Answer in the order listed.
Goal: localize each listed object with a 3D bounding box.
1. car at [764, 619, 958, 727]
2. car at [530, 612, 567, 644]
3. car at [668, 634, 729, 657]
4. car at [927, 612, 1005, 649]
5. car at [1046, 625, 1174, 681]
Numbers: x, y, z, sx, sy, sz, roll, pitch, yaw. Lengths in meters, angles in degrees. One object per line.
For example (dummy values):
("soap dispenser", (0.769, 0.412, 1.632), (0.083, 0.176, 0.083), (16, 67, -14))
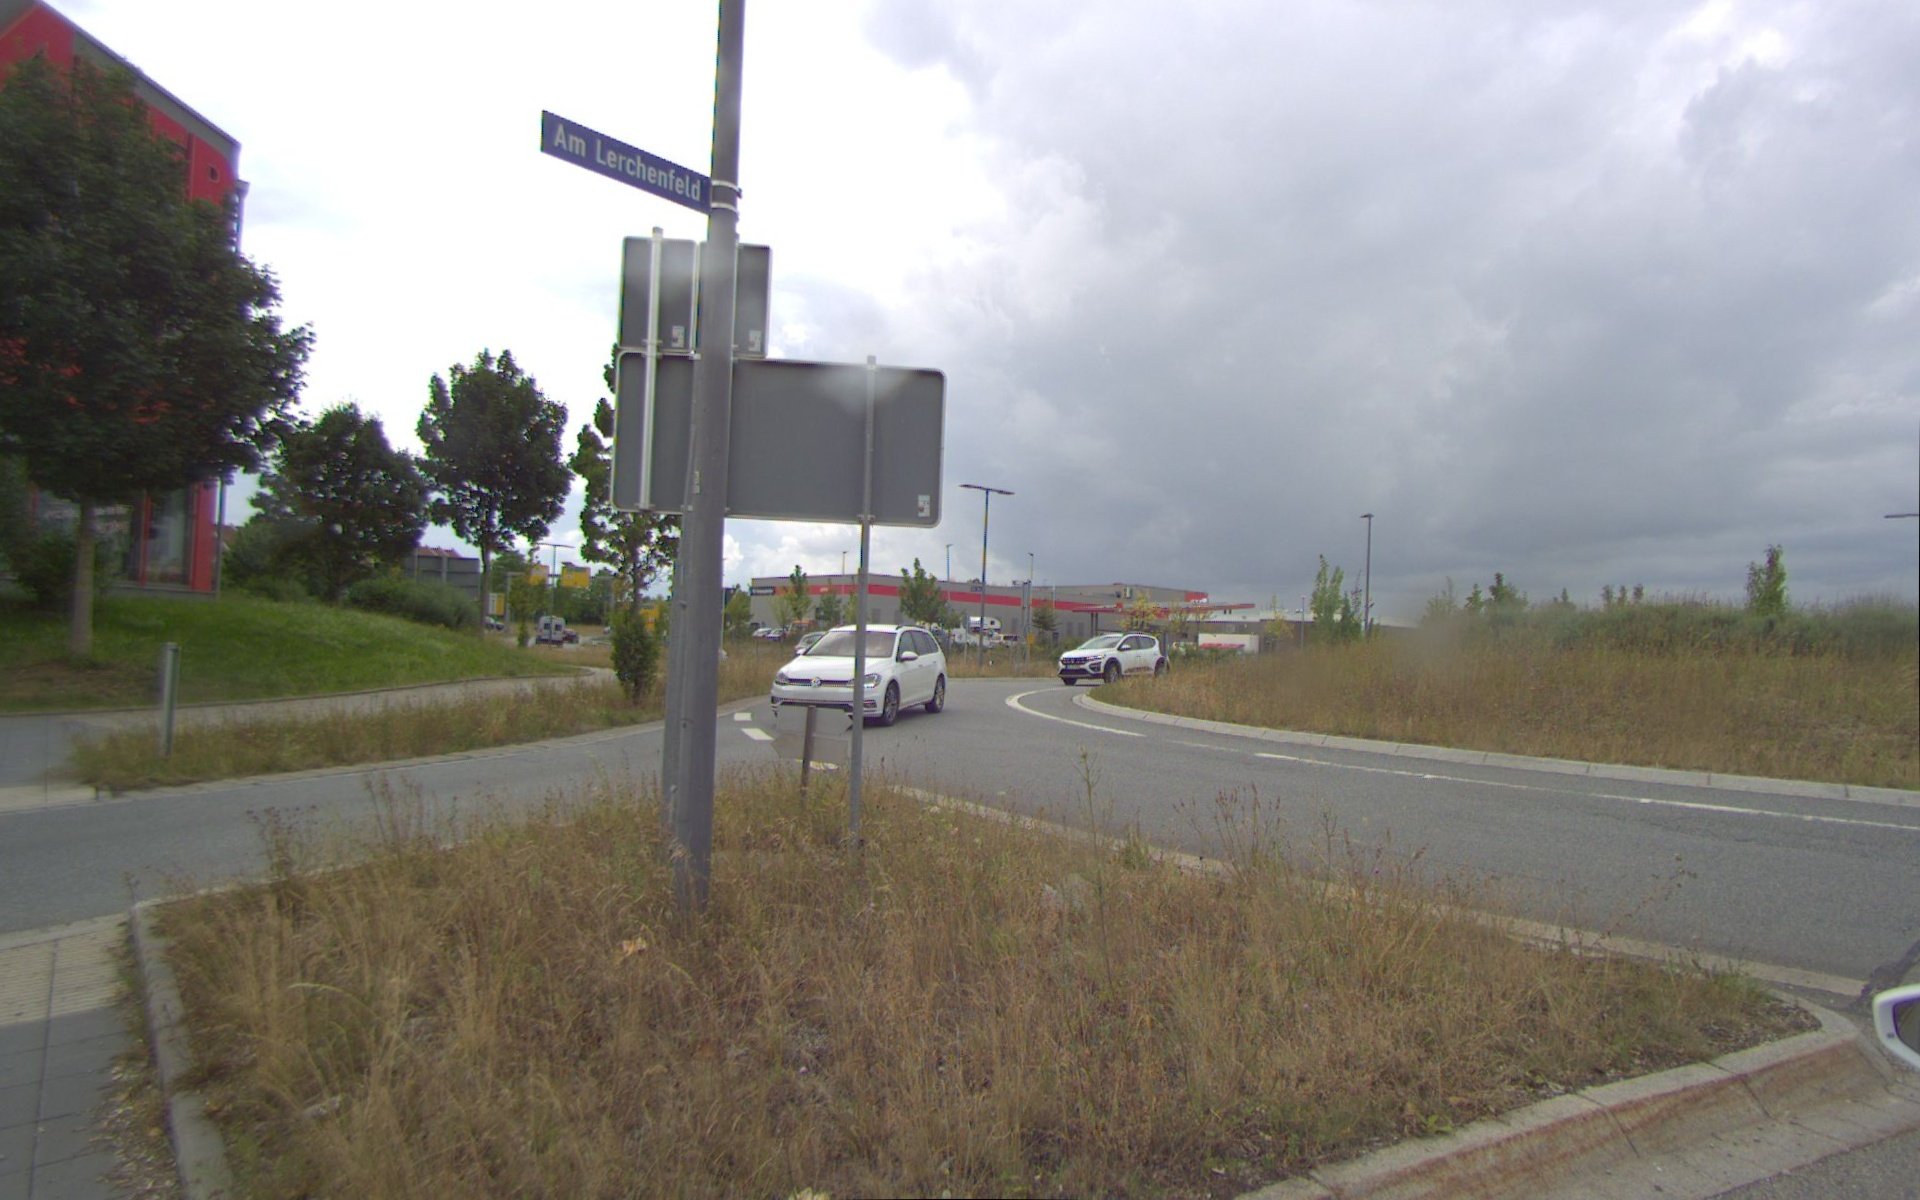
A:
("car", (-1.375, 1.081, 16.006), (1.693, 1.427, 4.647), (1, -2, 13))
("car", (-35.283, 2.378, 86.052), (2.254, 2.418, 5.669), (5, -2, -28))
("car", (-16.759, 2.897, 64.386), (3.676, 1.318, 1.499), (1, -3, 26))
("car", (0.620, 2.862, 93.242), (7.642, 2.856, 2.438), (6, -2, -44))
("car", (4.566, 1.594, 30.255), (4.058, 1.578, 1.711), (3, -4, -44))
